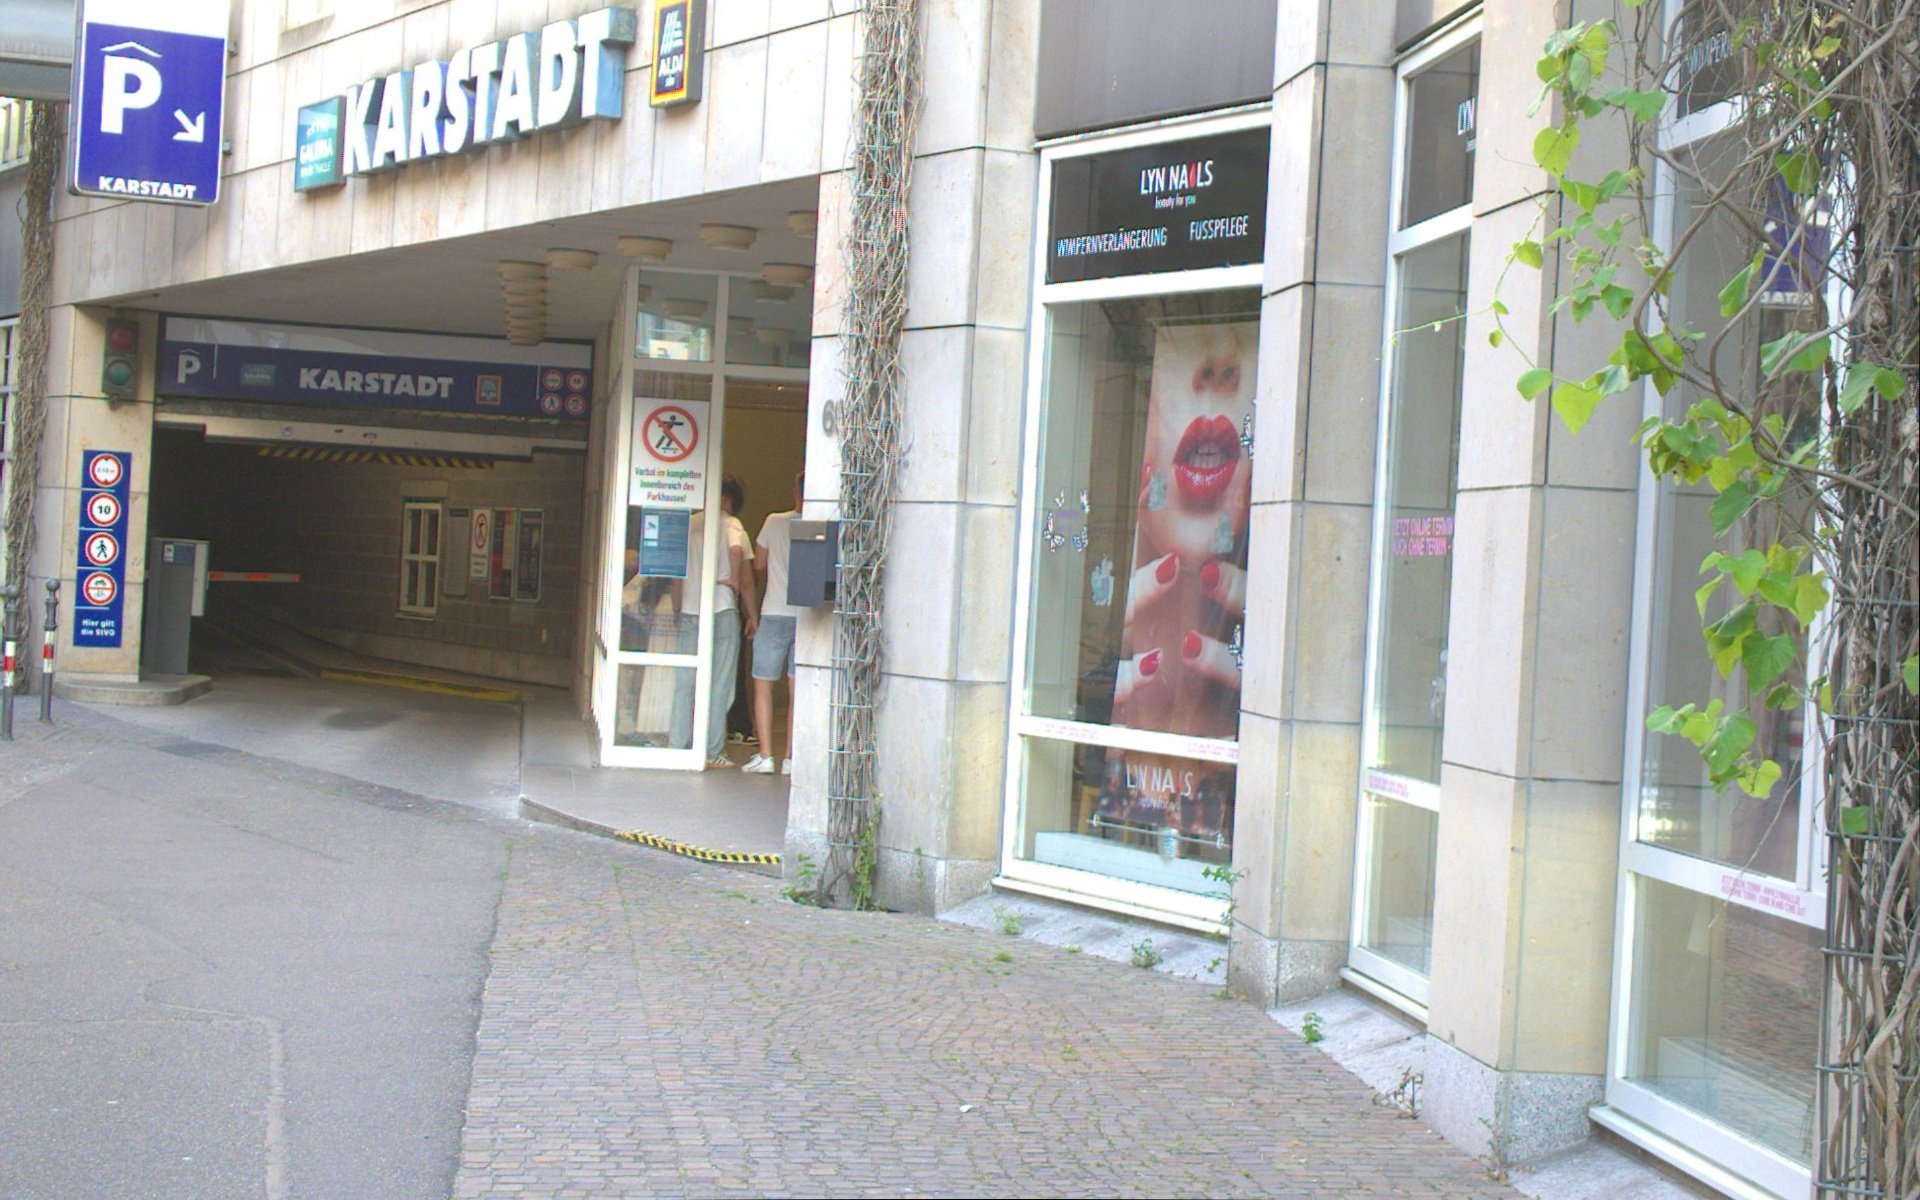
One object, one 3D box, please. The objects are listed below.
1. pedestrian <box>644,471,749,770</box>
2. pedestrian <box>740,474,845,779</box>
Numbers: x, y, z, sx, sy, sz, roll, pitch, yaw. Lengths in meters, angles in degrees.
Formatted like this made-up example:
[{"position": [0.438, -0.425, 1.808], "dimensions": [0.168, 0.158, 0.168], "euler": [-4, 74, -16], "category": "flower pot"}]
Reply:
[{"position": [-1.655, 0.122, 21.604], "dimensions": [0.542, 1.840, 0.408], "euler": [3, 1, -1], "category": "pedestrian"}, {"position": [-1.042, 0.159, 21.439], "dimensions": [0.542, 1.855, 0.408], "euler": [3, 1, -1], "category": "pedestrian"}]
